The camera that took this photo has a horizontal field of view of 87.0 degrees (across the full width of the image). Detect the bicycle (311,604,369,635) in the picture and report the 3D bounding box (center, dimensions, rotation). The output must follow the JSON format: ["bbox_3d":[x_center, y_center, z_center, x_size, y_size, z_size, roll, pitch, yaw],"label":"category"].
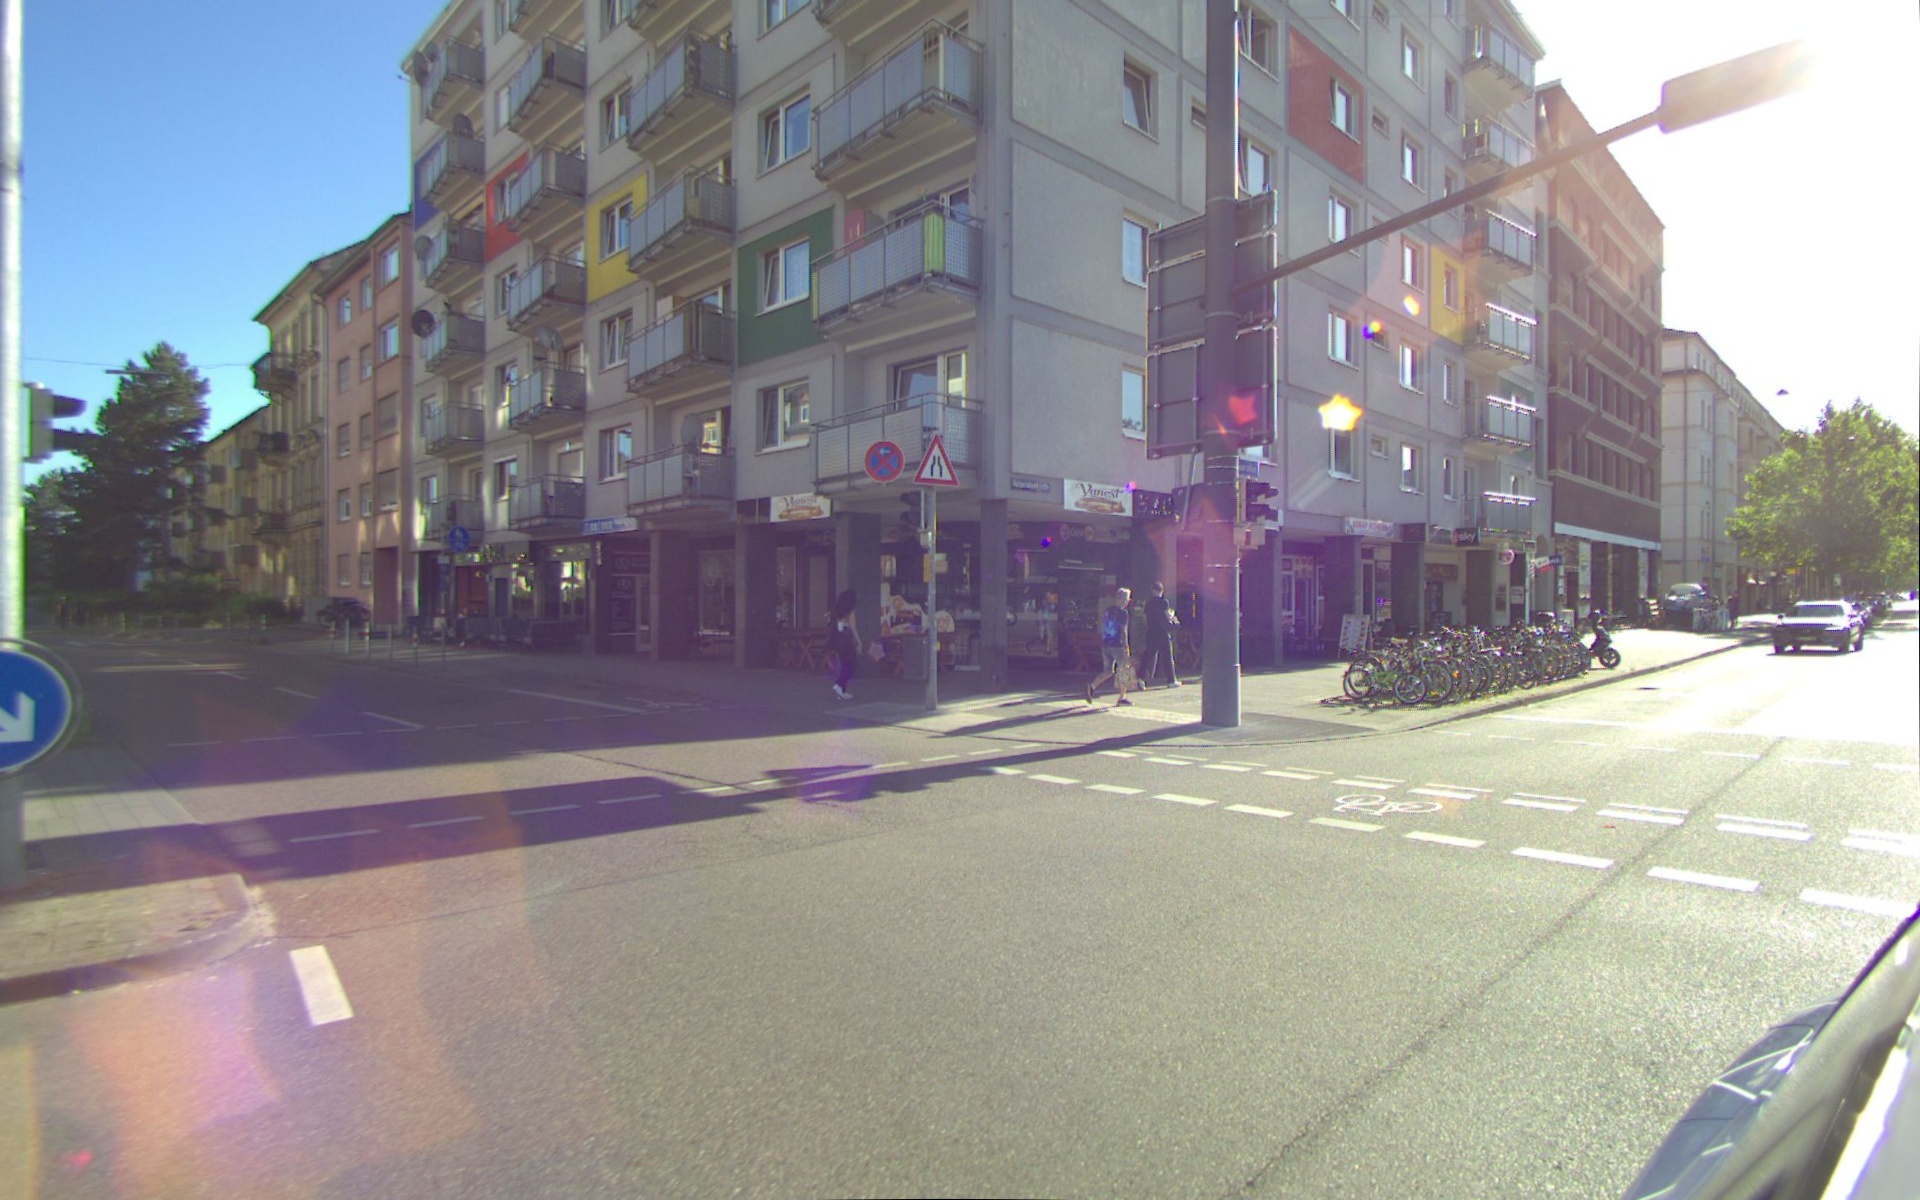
[{"bbox_3d":[-24.308,0.749,39.723,0.677,1.004,1.913,-3,4,16],"label":"bicycle"}]

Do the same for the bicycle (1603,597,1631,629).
[{"bbox_3d":[27.368,0.518,42.155,0.596,1.257,1.902,0,1,44],"label":"bicycle"}]

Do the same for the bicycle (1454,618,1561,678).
[{"bbox_3d":[10.799,0.929,20.001,1.816,1.073,0.409,1,2,42],"label":"bicycle"}]

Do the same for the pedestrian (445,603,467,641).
[{"bbox_3d":[-16.284,0.705,32.716,0.520,1.181,0.563,0,0,-41],"label":"pedestrian"}]

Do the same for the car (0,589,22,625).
[{"bbox_3d":[-57.435,0.449,60.411,1.968,2.039,4.233,-1,-1,-45],"label":"car"}]

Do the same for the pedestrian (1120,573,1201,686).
[{"bbox_3d":[3.454,0.487,17.404,0.863,1.858,1.192,-1,0,44],"label":"pedestrian"}]

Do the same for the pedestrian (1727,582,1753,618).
[{"bbox_3d":[42.058,-0.023,54.578,0.859,1.907,1.211,-1,0,28],"label":"pedestrian"}]

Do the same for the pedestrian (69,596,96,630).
[{"bbox_3d":[-45.310,0.652,52.243,0.771,1.695,0.836,-2,-1,28],"label":"pedestrian"}]

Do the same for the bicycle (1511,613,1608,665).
[{"bbox_3d":[13.334,0.851,22.552,1.816,1.074,0.409,0,1,41],"label":"bicycle"}]

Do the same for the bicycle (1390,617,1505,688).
[{"bbox_3d":[8.381,0.879,17.439,1.749,1.114,0.393,0,1,43],"label":"bicycle"}]

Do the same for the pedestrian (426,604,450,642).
[{"bbox_3d":[-16.675,0.739,32.332,0.551,1.181,0.549,0,0,-41],"label":"pedestrian"}]

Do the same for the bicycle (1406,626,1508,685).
[{"bbox_3d":[8.691,0.960,17.732,0.381,0.978,1.543,-1,-1,-45],"label":"bicycle"}]

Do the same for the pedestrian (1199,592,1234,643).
[{"bbox_3d":[7.763,0.522,30.661,0.764,1.493,0.701,-1,0,44],"label":"pedestrian"}]

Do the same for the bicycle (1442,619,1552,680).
[{"bbox_3d":[10.250,0.923,19.359,0.409,1.073,1.818,-1,1,-45],"label":"bicycle"}]

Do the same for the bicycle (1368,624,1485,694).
[{"bbox_3d":[7.630,0.946,16.597,1.698,1.024,0.404,1,2,42],"label":"bicycle"}]

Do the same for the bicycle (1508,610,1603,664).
[{"bbox_3d":[13.835,0.831,23.527,1.815,1.189,0.693,0,1,41],"label":"bicycle"}]

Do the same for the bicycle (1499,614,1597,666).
[{"bbox_3d":[12.930,0.862,22.287,1.816,1.073,0.409,0,1,41],"label":"bicycle"}]

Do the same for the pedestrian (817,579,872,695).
[{"bbox_3d":[-1.835,0.574,16.067,0.653,1.796,0.568,0,-1,-43],"label":"pedestrian"}]

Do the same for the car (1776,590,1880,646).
[{"bbox_3d":[28.780,0.543,33.508,4.044,1.709,1.901,-1,0,-39],"label":"car"}]

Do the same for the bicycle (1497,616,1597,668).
[{"bbox_3d":[12.710,0.899,21.956,1.815,1.074,0.409,-1,0,41],"label":"bicycle"}]

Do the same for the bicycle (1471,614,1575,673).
[{"bbox_3d":[11.432,0.866,20.598,1.816,1.082,0.409,1,2,41],"label":"bicycle"}]

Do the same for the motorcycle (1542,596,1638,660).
[{"bbox_3d":[15.417,0.656,24.779,1.877,1.447,0.876,2,2,41],"label":"motorcycle"}]

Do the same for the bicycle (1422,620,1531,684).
[{"bbox_3d":[9.623,0.949,18.891,1.770,1.068,0.409,2,2,44],"label":"bicycle"}]

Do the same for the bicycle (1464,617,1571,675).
[{"bbox_3d":[11.135,0.897,20.254,1.815,1.082,0.409,0,2,41],"label":"bicycle"}]

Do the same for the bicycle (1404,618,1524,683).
[{"bbox_3d":[8.983,0.895,18.090,1.812,1.096,0.523,-3,-1,42],"label":"bicycle"}]

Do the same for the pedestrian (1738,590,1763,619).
[{"bbox_3d":[45.219,0.244,57.896,0.857,1.669,0.975,-1,0,23],"label":"pedestrian"}]

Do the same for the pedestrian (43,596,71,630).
[{"bbox_3d":[-45.717,0.666,51.232,0.771,1.695,0.835,-3,-1,29],"label":"pedestrian"}]

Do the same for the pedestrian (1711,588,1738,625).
[{"bbox_3d":[34.586,0.278,45.804,0.658,1.672,0.773,0,0,-33],"label":"pedestrian"}]

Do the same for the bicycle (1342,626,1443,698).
[{"bbox_3d":[6.795,0.955,15.952,0.404,1.024,1.430,-1,2,-43],"label":"bicycle"}]

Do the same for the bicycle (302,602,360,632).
[{"bbox_3d":[-25.607,0.668,41.205,0.679,1.004,1.908,-2,4,23],"label":"bicycle"}]

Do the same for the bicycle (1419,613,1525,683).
[{"bbox_3d":[9.331,0.856,18.478,1.638,1.125,0.523,3,3,43],"label":"bicycle"}]

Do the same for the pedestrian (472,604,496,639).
[{"bbox_3d":[-16.133,0.721,34.275,0.594,1.181,0.662,0,0,-41],"label":"pedestrian"}]

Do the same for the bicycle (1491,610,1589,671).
[{"bbox_3d":[12.408,0.839,21.678,1.775,1.245,0.409,0,0,41],"label":"bicycle"}]

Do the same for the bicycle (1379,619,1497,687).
[{"bbox_3d":[8.077,0.885,17.160,1.750,1.090,0.400,-3,-1,43],"label":"bicycle"}]

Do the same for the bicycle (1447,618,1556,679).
[{"bbox_3d":[10.518,0.914,19.692,1.817,1.073,0.409,1,1,43],"label":"bicycle"}]

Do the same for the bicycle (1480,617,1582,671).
[{"bbox_3d":[11.837,0.900,21.018,1.816,1.024,0.409,1,1,41],"label":"bicycle"}]

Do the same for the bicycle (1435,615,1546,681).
[{"bbox_3d":[9.969,0.881,19.073,1.818,1.127,0.398,1,1,45],"label":"bicycle"}]

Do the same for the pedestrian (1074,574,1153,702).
[{"bbox_3d":[2.253,0.536,14.880,0.789,1.799,0.861,-1,0,44],"label":"pedestrian"}]

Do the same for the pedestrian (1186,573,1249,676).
[{"bbox_3d":[4.921,0.445,19.373,0.859,1.910,0.791,0,0,-38],"label":"pedestrian"}]
